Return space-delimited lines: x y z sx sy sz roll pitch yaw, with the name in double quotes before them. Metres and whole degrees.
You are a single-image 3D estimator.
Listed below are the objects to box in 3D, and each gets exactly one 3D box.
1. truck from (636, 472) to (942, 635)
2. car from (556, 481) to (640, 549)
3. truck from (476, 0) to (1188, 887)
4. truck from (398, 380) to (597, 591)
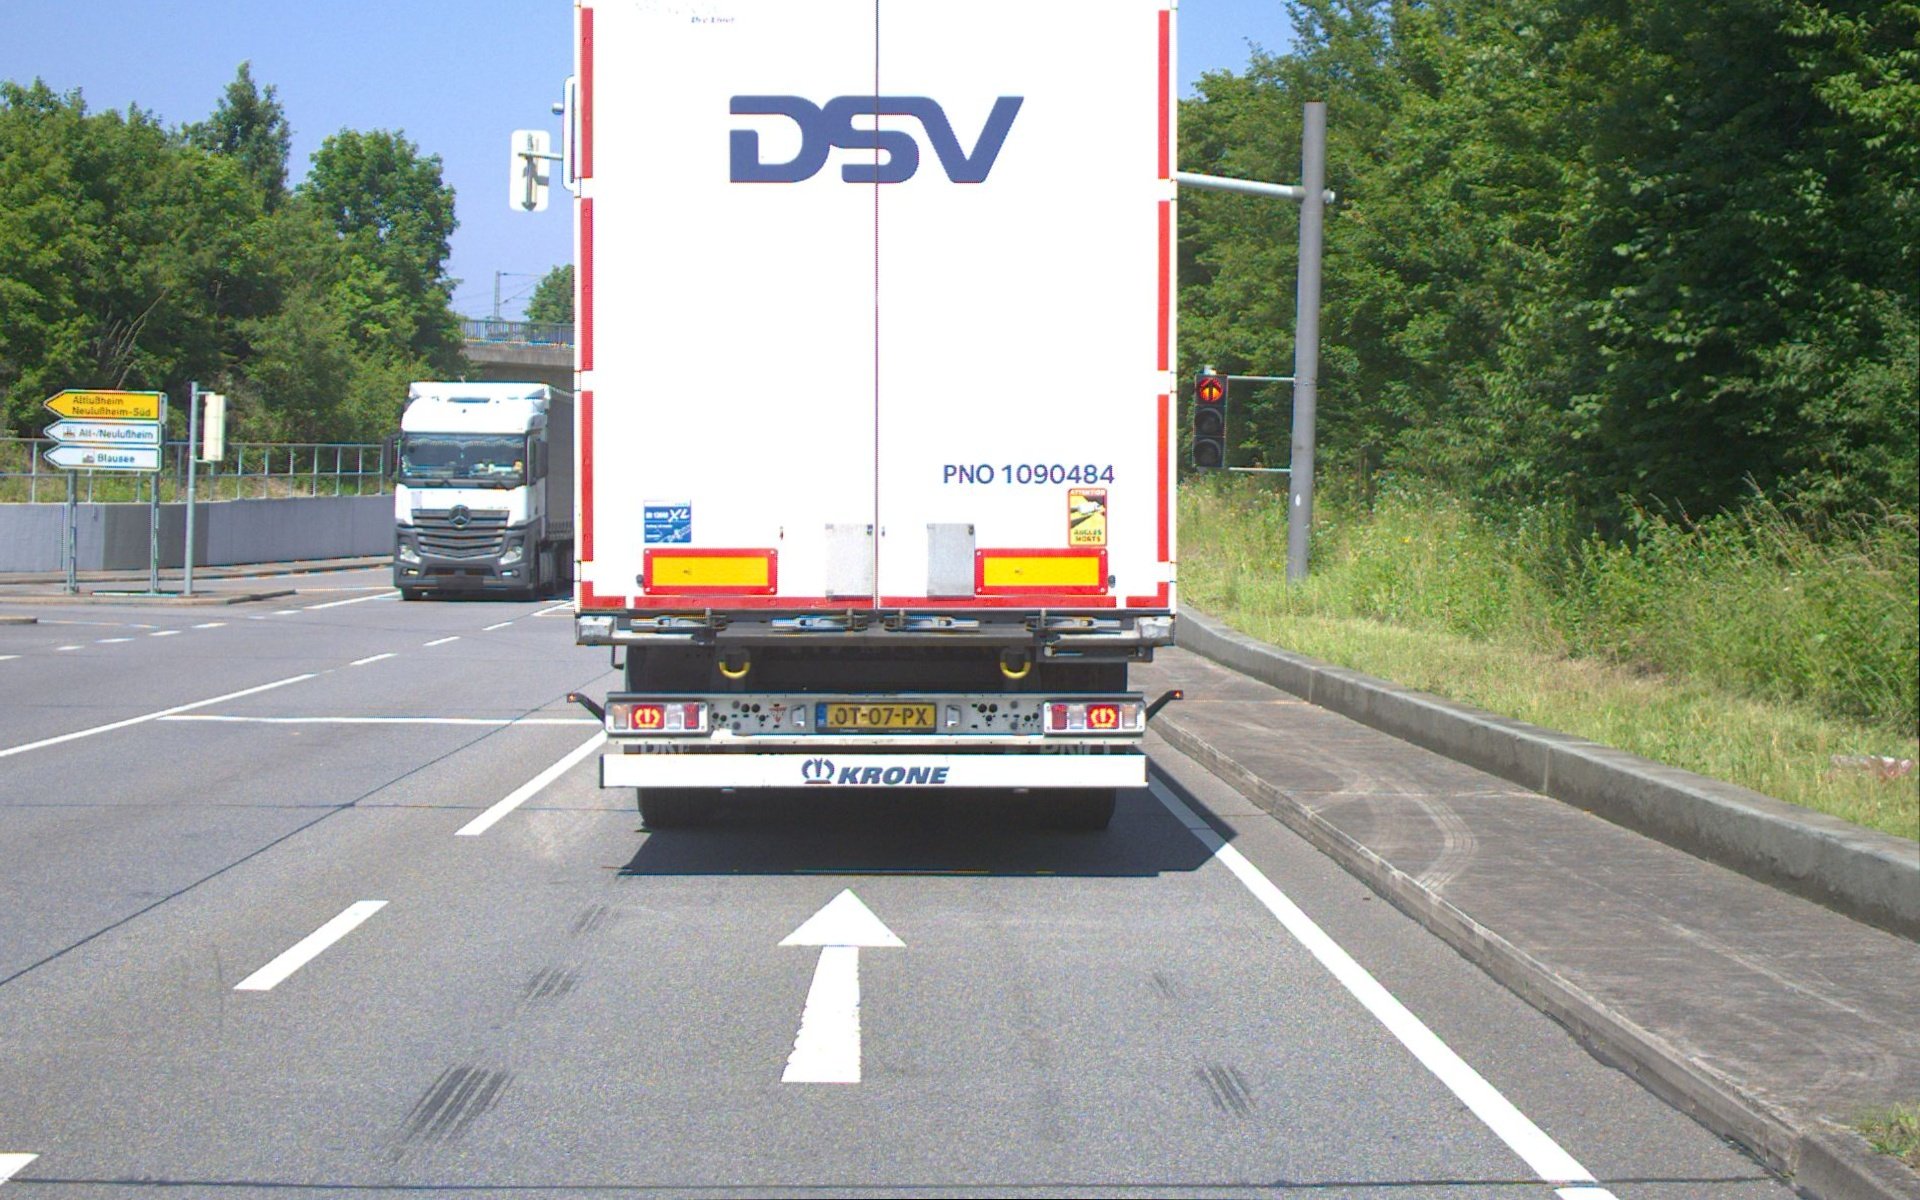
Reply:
"truck" -2.707 -0.786 56.725 2.709 2.490 6.425 1 1 20
"car" -8.908 -2.109 84.740 1.747 1.620 3.704 0 2 -1
"truck" -0.772 -1.190 19.269 2.949 4.553 9.864 0 1 -3
"truck" -8.904 -2.238 67.500 2.353 3.737 12.627 0 2 -1
